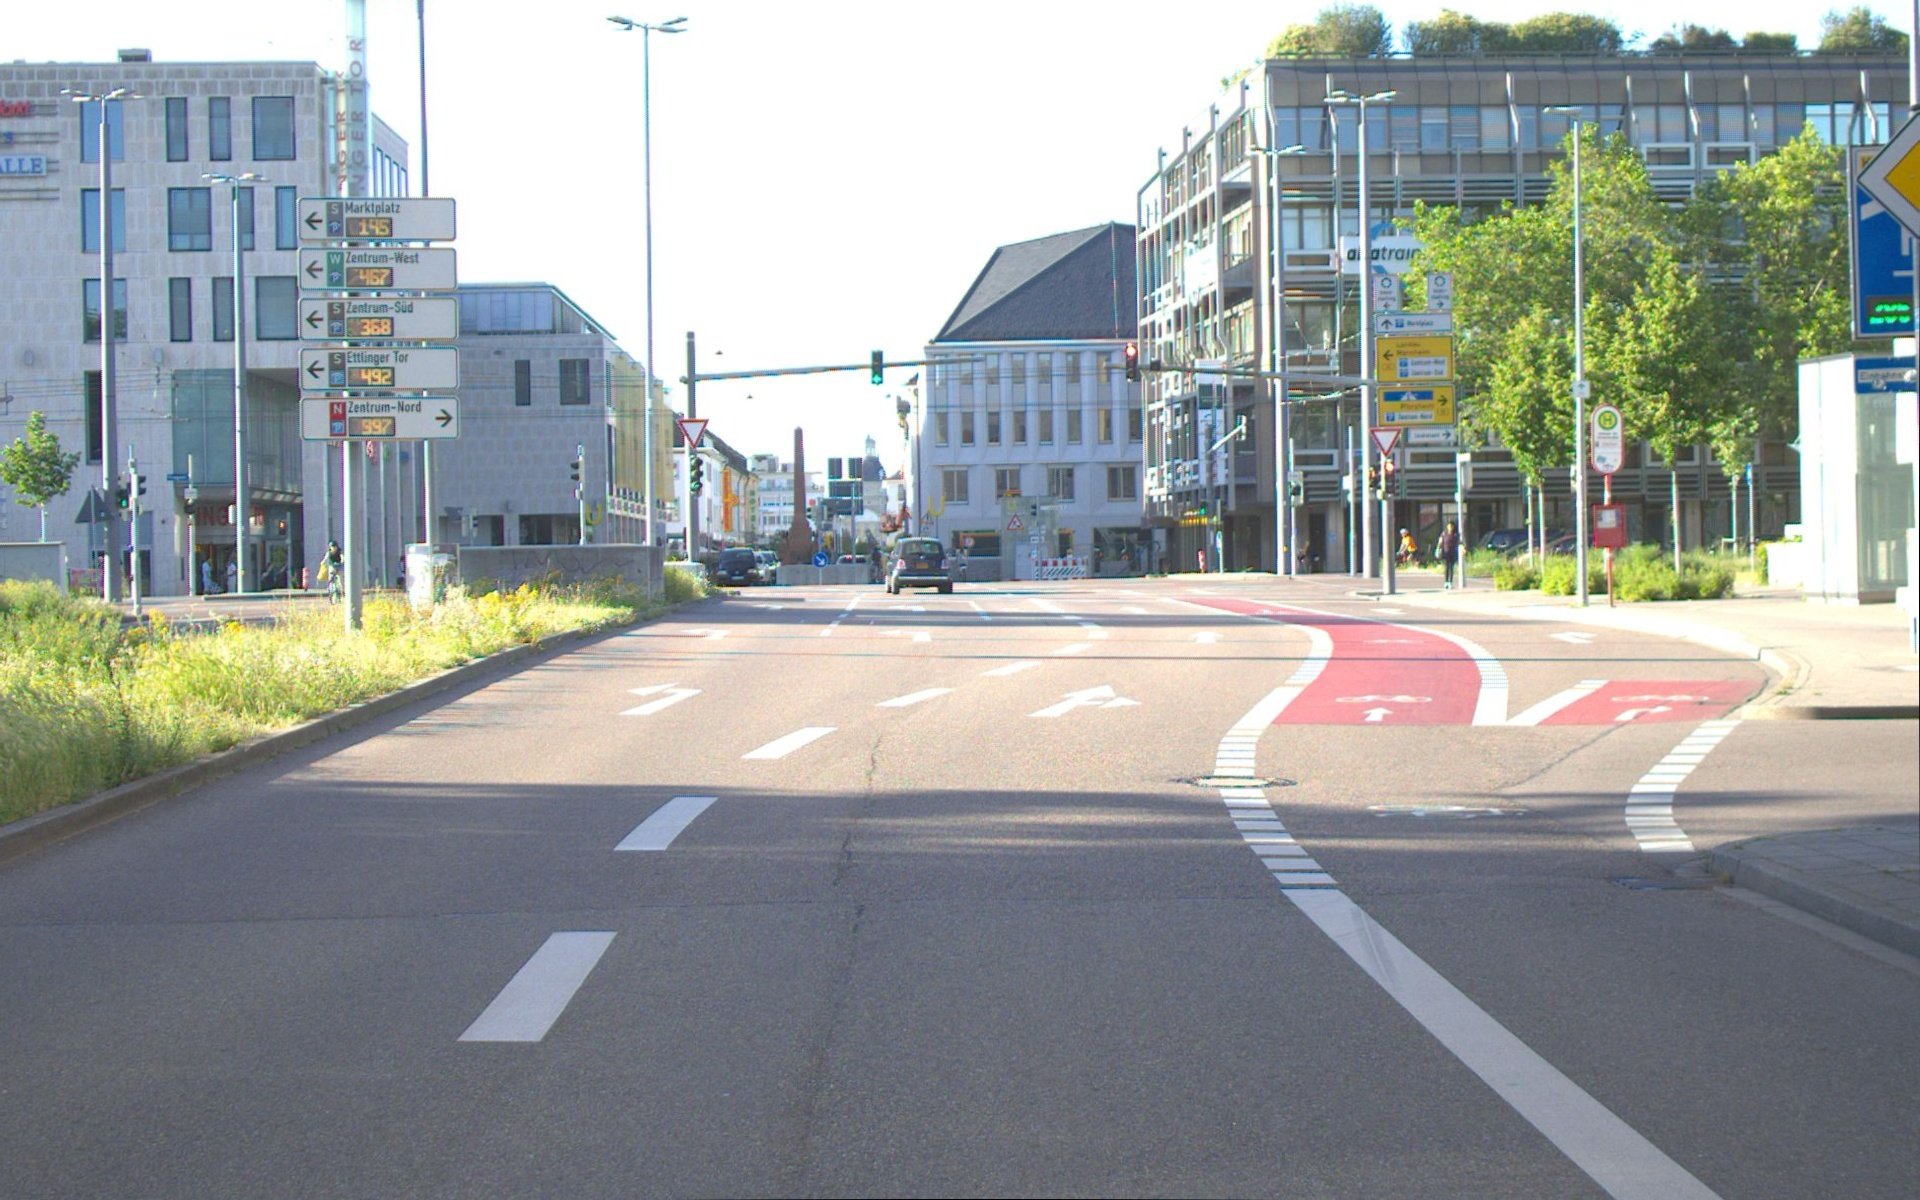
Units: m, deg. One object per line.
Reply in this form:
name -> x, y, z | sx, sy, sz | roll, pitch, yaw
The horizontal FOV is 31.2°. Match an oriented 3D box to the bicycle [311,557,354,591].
bicycle -> -16.348, -0.681, 89.572 | 0.612, 0.858, 1.951 | -1, 1, 5

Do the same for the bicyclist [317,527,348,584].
bicyclist -> -16.347, -1.162, 89.543 | 0.607, 1.484, 0.681 | -1, 1, 5

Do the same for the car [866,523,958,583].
car -> -1.307, -1.272, 92.046 | 1.775, 1.558, 3.790 | -1, 1, -11

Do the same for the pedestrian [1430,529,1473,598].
pedestrian -> 12.600, -0.935, 88.112 | 0.822, 1.742, 1.040 | -2, 1, 21

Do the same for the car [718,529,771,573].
car -> -9.121, -2.088, 145.761 | 1.993, 1.736, 4.647 | -1, 2, -1

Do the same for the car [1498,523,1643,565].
car -> 21.229, -1.945, 119.624 | 4.630, 1.351, 2.001 | -1, 2, -4

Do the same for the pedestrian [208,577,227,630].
pedestrian -> -28.748, 0.136, 133.129 | 0.622, 2.007, 0.516 | -1, 1, -9

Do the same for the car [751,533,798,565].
car -> -8.705, -2.422, 161.590 | 1.993, 1.351, 4.647 | -1, 2, -1

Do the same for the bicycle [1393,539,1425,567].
bicycle -> 15.753, -1.657, 120.612 | 1.076, 0.967, 0.458 | -1, 1, 2

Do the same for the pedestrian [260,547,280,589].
pedestrian -> -26.526, -1.231, 132.118 | 0.623, 1.602, 0.653 | -1, 1, -1

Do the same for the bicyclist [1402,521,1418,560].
bicyclist -> 15.799, -2.093, 120.609 | 0.508, 1.334, 0.452 | -1, 1, 2
